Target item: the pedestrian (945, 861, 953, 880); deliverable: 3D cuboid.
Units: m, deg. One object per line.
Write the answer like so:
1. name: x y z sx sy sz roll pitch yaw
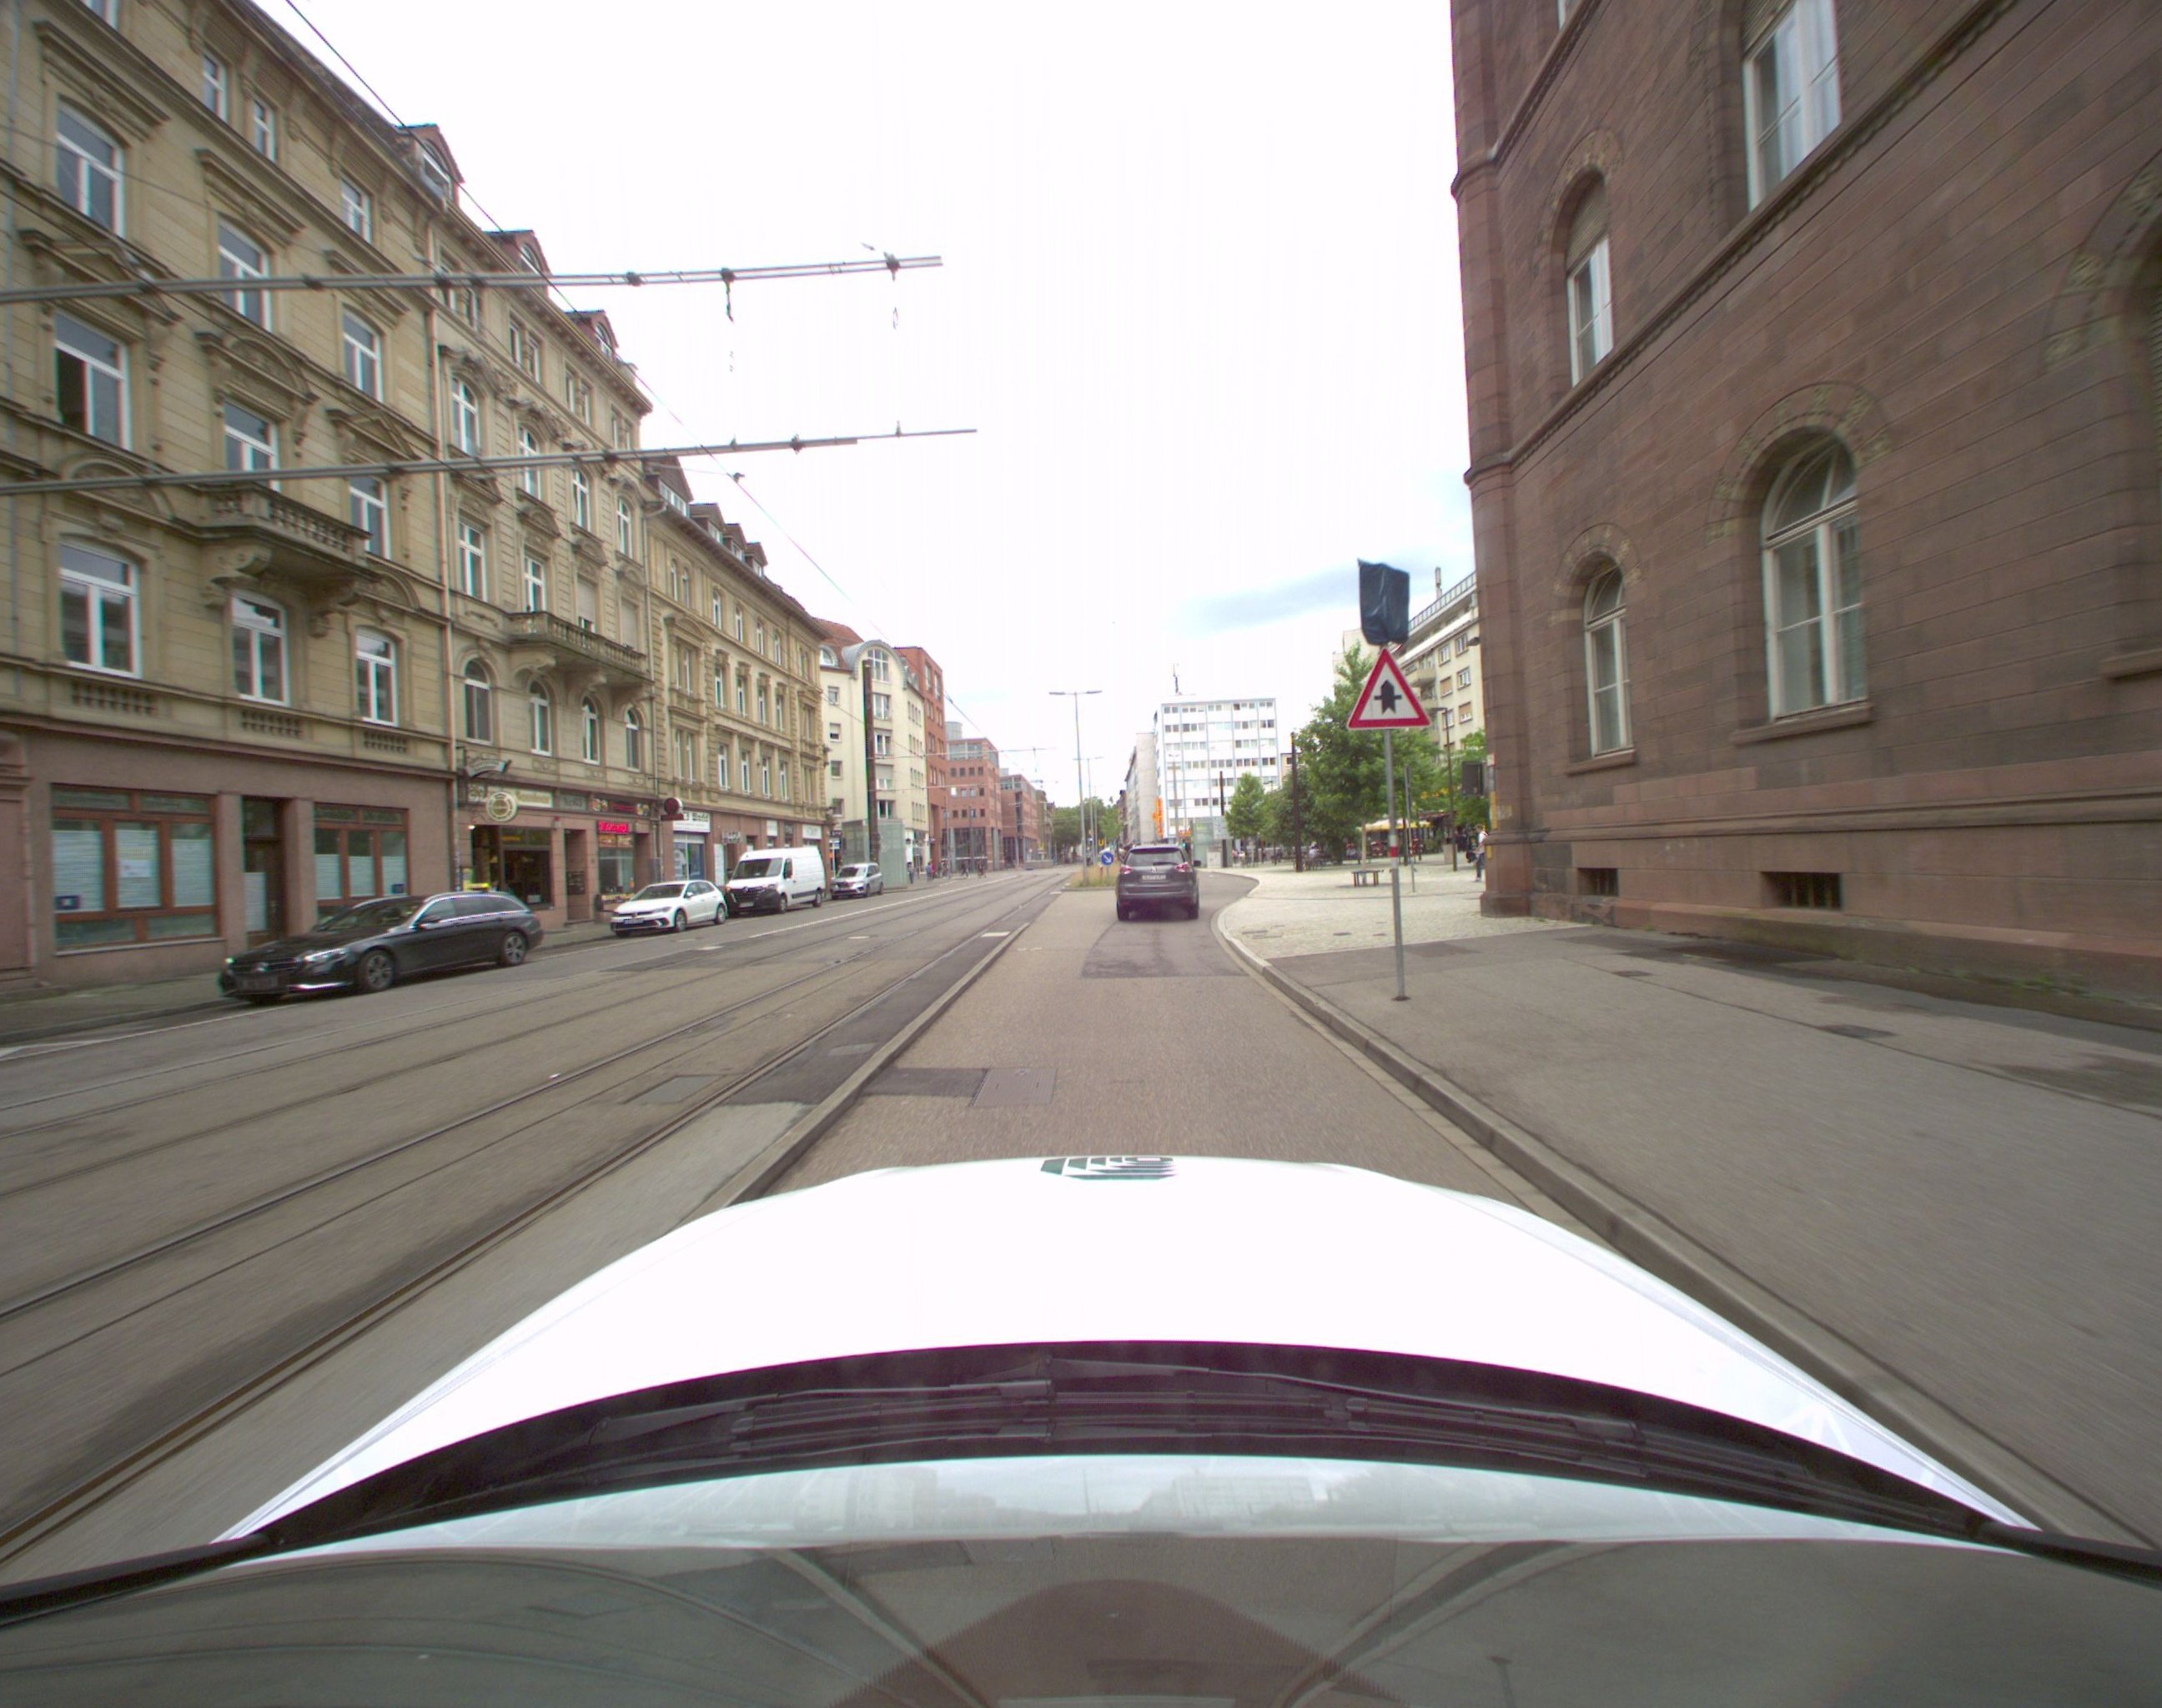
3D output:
1. pedestrian: -11.915 1.459 73.470 0.660 1.687 0.720 -3 -2 -11

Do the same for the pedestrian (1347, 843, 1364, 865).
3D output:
1. pedestrian: 17.647 0.012 52.410 0.626 1.366 1.409 -2 -1 0

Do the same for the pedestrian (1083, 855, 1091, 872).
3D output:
1. pedestrian: 0.593 1.002 85.165 0.742 1.684 0.798 -1 -2 -3

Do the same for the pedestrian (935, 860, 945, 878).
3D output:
1. pedestrian: -13.511 1.466 78.148 0.870 1.687 0.659 -3 -2 -14

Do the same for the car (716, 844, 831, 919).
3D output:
1. car: -11.696 0.988 31.490 2.046 2.486 5.665 -5 -1 0

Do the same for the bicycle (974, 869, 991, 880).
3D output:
1. bicycle: -9.453 1.960 78.287 1.887 1.021 0.484 -4 -1 42

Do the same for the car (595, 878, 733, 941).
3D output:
1. car: -11.895 1.521 23.577 1.765 1.422 4.164 -5 -1 0

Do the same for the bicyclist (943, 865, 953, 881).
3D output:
1. bicyclist: -13.136 1.832 80.405 0.804 1.540 0.494 -3 -1 10

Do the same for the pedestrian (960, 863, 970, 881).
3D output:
1. pedestrian: -11.853 1.840 83.471 0.894 1.890 0.798 -1 -2 -1

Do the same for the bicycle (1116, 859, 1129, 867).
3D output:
1. bicycle: 6.450 1.368 126.211 1.868 1.172 0.529 -2 -1 -12

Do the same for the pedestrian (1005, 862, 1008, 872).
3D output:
1. pedestrian: -12.234 2.165 133.572 0.450 1.532 0.519 -1 -1 -17

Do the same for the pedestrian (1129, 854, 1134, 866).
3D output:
1. pedestrian: 7.759 0.951 125.365 0.731 1.746 0.661 -2 -1 -7

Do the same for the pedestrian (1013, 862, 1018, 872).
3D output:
1. pedestrian: -12.389 2.430 153.424 0.735 1.842 0.697 -1 -1 -24

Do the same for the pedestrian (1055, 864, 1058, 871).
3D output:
1. pedestrian: -5.883 3.308 197.630 0.599 1.714 0.654 -2 -1 -6

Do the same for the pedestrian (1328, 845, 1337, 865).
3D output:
1. pedestrian: 17.372 0.087 56.186 0.538 1.366 1.286 -2 -1 19

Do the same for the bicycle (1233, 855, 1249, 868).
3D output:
1. bicycle: 13.034 0.617 66.312 0.651 0.978 1.765 -4 -1 30

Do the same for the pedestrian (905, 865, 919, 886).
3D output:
1. pedestrian: -13.976 1.770 67.392 0.714 1.687 0.829 -4 -2 20

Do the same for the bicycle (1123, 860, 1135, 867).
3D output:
1. bicycle: 7.396 1.518 125.906 1.697 1.065 0.435 -2 -1 -12

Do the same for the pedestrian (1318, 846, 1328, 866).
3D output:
1. pedestrian: 16.604 0.128 55.841 0.623 1.366 0.923 -2 -1 18

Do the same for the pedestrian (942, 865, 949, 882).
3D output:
1. pedestrian: -13.514 1.954 81.431 0.568 1.684 0.798 -1 -2 -3

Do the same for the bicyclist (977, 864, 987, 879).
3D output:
1. bicyclist: -9.528 1.678 78.349 0.801 1.407 0.483 -4 -1 43

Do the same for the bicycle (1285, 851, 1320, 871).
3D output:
1. bicycle: 12.986 0.408 47.735 1.901 1.123 0.647 -2 -1 12

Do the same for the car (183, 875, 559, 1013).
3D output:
1. car: -11.604 1.335 13.983 1.913 1.689 5.051 -5 -1 0

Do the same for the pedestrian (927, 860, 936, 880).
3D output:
1. pedestrian: -13.166 1.441 71.684 0.720 1.687 0.660 -3 -2 -9

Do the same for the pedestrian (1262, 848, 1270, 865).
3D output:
1. pedestrian: 19.623 0.221 86.288 0.666 1.761 0.644 -2 -1 16

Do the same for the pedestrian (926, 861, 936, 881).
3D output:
1. pedestrian: -12.661 1.424 68.755 0.659 1.687 0.720 -3 -2 -8

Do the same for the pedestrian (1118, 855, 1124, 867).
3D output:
1. pedestrian: 6.292 1.056 128.851 0.712 1.832 1.014 -2 -1 -7

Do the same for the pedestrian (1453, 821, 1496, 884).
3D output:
1. pedestrian: 12.331 -0.043 25.539 0.867 1.901 0.773 -4 0 0

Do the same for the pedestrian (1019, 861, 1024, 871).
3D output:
1. pedestrian: -11.425 2.246 155.257 0.695 1.842 0.738 -2 -1 17

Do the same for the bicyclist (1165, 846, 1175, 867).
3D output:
1. bicyclist: 7.709 0.209 70.497 0.830 1.812 0.878 -2 -1 3

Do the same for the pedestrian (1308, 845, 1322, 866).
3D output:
1. pedestrian: 15.956 0.120 55.547 0.629 1.366 0.683 -1 -1 -18

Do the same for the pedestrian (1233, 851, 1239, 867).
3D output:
1. pedestrian: 14.715 0.487 77.323 0.431 1.556 0.499 -2 -1 1

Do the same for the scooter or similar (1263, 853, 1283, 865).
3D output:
1. scooter or similar: 18.178 0.476 77.124 1.571 0.948 0.729 -5 -1 39

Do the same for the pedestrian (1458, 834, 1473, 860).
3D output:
1. pedestrian: 29.198 -0.538 61.783 0.766 1.885 0.858 -2 -1 39

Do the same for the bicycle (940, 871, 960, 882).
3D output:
1. bicycle: -12.921 2.222 80.389 1.894 1.021 0.479 -3 -1 10

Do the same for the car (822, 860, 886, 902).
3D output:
1. car: -11.572 1.337 41.832 1.897 1.864 4.519 -4 -1 0

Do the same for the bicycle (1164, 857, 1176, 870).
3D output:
1. bicycle: 7.696 0.799 70.438 0.898 1.045 3.281 -2 -1 4

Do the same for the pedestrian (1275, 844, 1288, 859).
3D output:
1. pedestrian: 18.864 -0.232 76.738 1.039 1.297 0.734 -4 -1 6

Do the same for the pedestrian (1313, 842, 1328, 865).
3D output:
1. pedestrian: 19.197 -0.016 65.384 0.711 1.802 1.078 -5 -1 0

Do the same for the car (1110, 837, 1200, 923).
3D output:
1. car: 1.893 0.549 19.638 1.853 1.775 4.577 -2 0 8

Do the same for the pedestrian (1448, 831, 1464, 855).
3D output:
1. pedestrian: 28.112 -0.824 61.029 0.766 1.751 0.722 -5 -1 39
